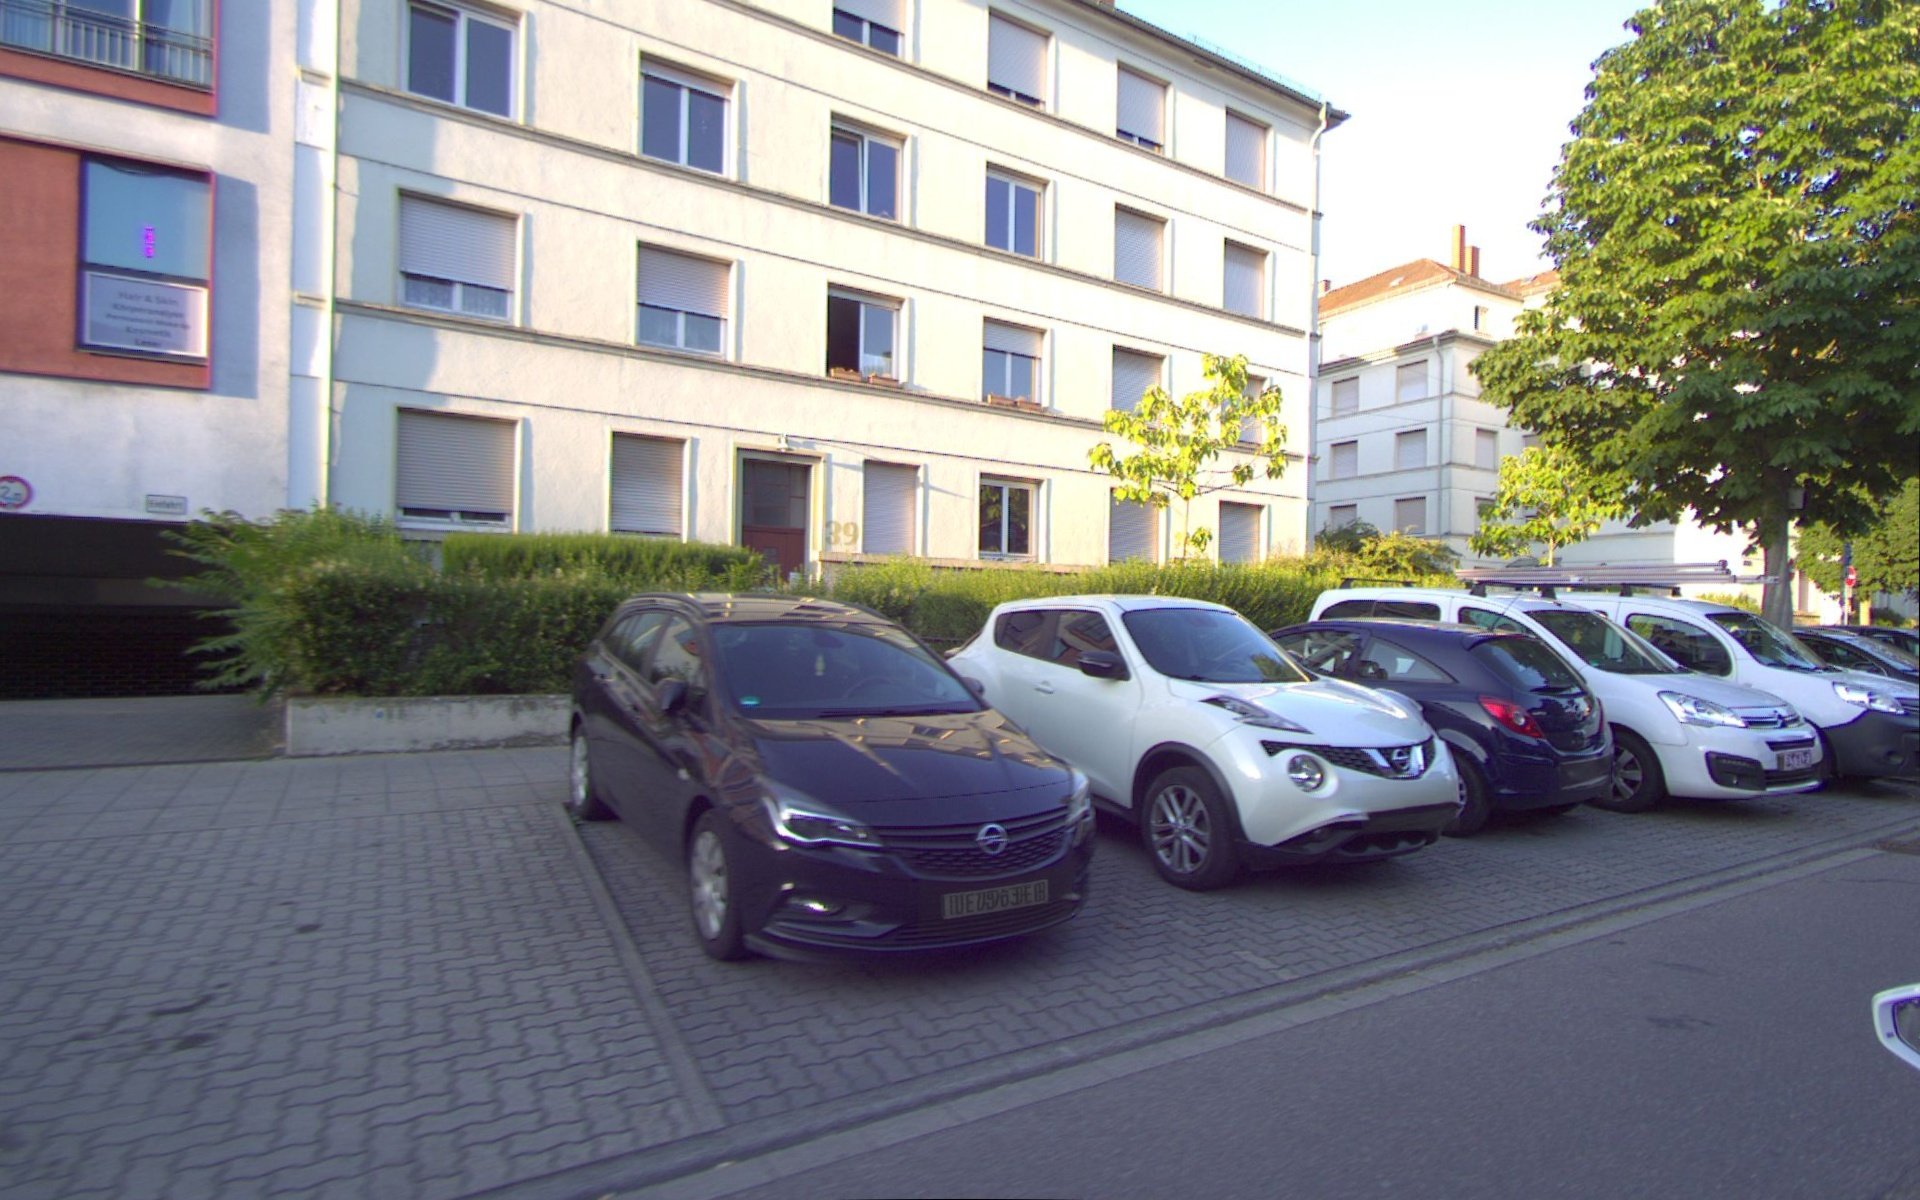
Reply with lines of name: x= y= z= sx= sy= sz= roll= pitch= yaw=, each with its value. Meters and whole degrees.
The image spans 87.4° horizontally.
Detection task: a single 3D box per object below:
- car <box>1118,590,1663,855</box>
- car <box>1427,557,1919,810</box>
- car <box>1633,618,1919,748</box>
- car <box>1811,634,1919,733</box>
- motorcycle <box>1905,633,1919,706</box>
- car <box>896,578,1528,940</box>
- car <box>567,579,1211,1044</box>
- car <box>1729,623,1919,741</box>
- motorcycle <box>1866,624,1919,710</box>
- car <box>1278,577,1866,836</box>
car: x=3.331 y=0.789 z=8.577 sx=1.736 sy=1.504 sz=3.965 roll=2 pitch=3 yaw=-31
car: x=7.721 y=0.632 z=10.902 sx=1.974 sy=2.098 sz=4.494 roll=1 pitch=2 yaw=-27
car: x=11.888 y=1.069 z=13.534 sx=1.829 sy=1.424 sz=4.307 roll=2 pitch=1 yaw=-29
car: x=16.092 y=1.367 z=15.871 sx=1.669 sy=1.526 sz=3.697 roll=2 pitch=-1 yaw=-29
motorcycle: x=19.904 y=1.395 z=19.433 sx=0.764 sy=1.455 sz=2.222 roll=2 pitch=-1 yaw=-28
car: x=1.303 y=0.717 z=6.937 sx=1.792 sy=1.642 sz=4.223 roll=1 pitch=1 yaw=-30
car: x=-0.853 y=0.708 z=5.742 sx=1.807 sy=1.471 sz=4.384 roll=2 pitch=1 yaw=-32
car: x=14.051 y=1.197 z=14.804 sx=1.708 sy=1.604 sz=3.970 roll=2 pitch=-1 yaw=-29
motorcycle: x=18.705 y=1.291 z=18.971 sx=0.764 sy=1.603 sz=2.222 roll=2 pitch=-1 yaw=-28
car: x=5.407 y=0.742 z=9.592 sx=1.919 sy=1.826 sz=4.403 roll=1 pitch=1 yaw=-28
